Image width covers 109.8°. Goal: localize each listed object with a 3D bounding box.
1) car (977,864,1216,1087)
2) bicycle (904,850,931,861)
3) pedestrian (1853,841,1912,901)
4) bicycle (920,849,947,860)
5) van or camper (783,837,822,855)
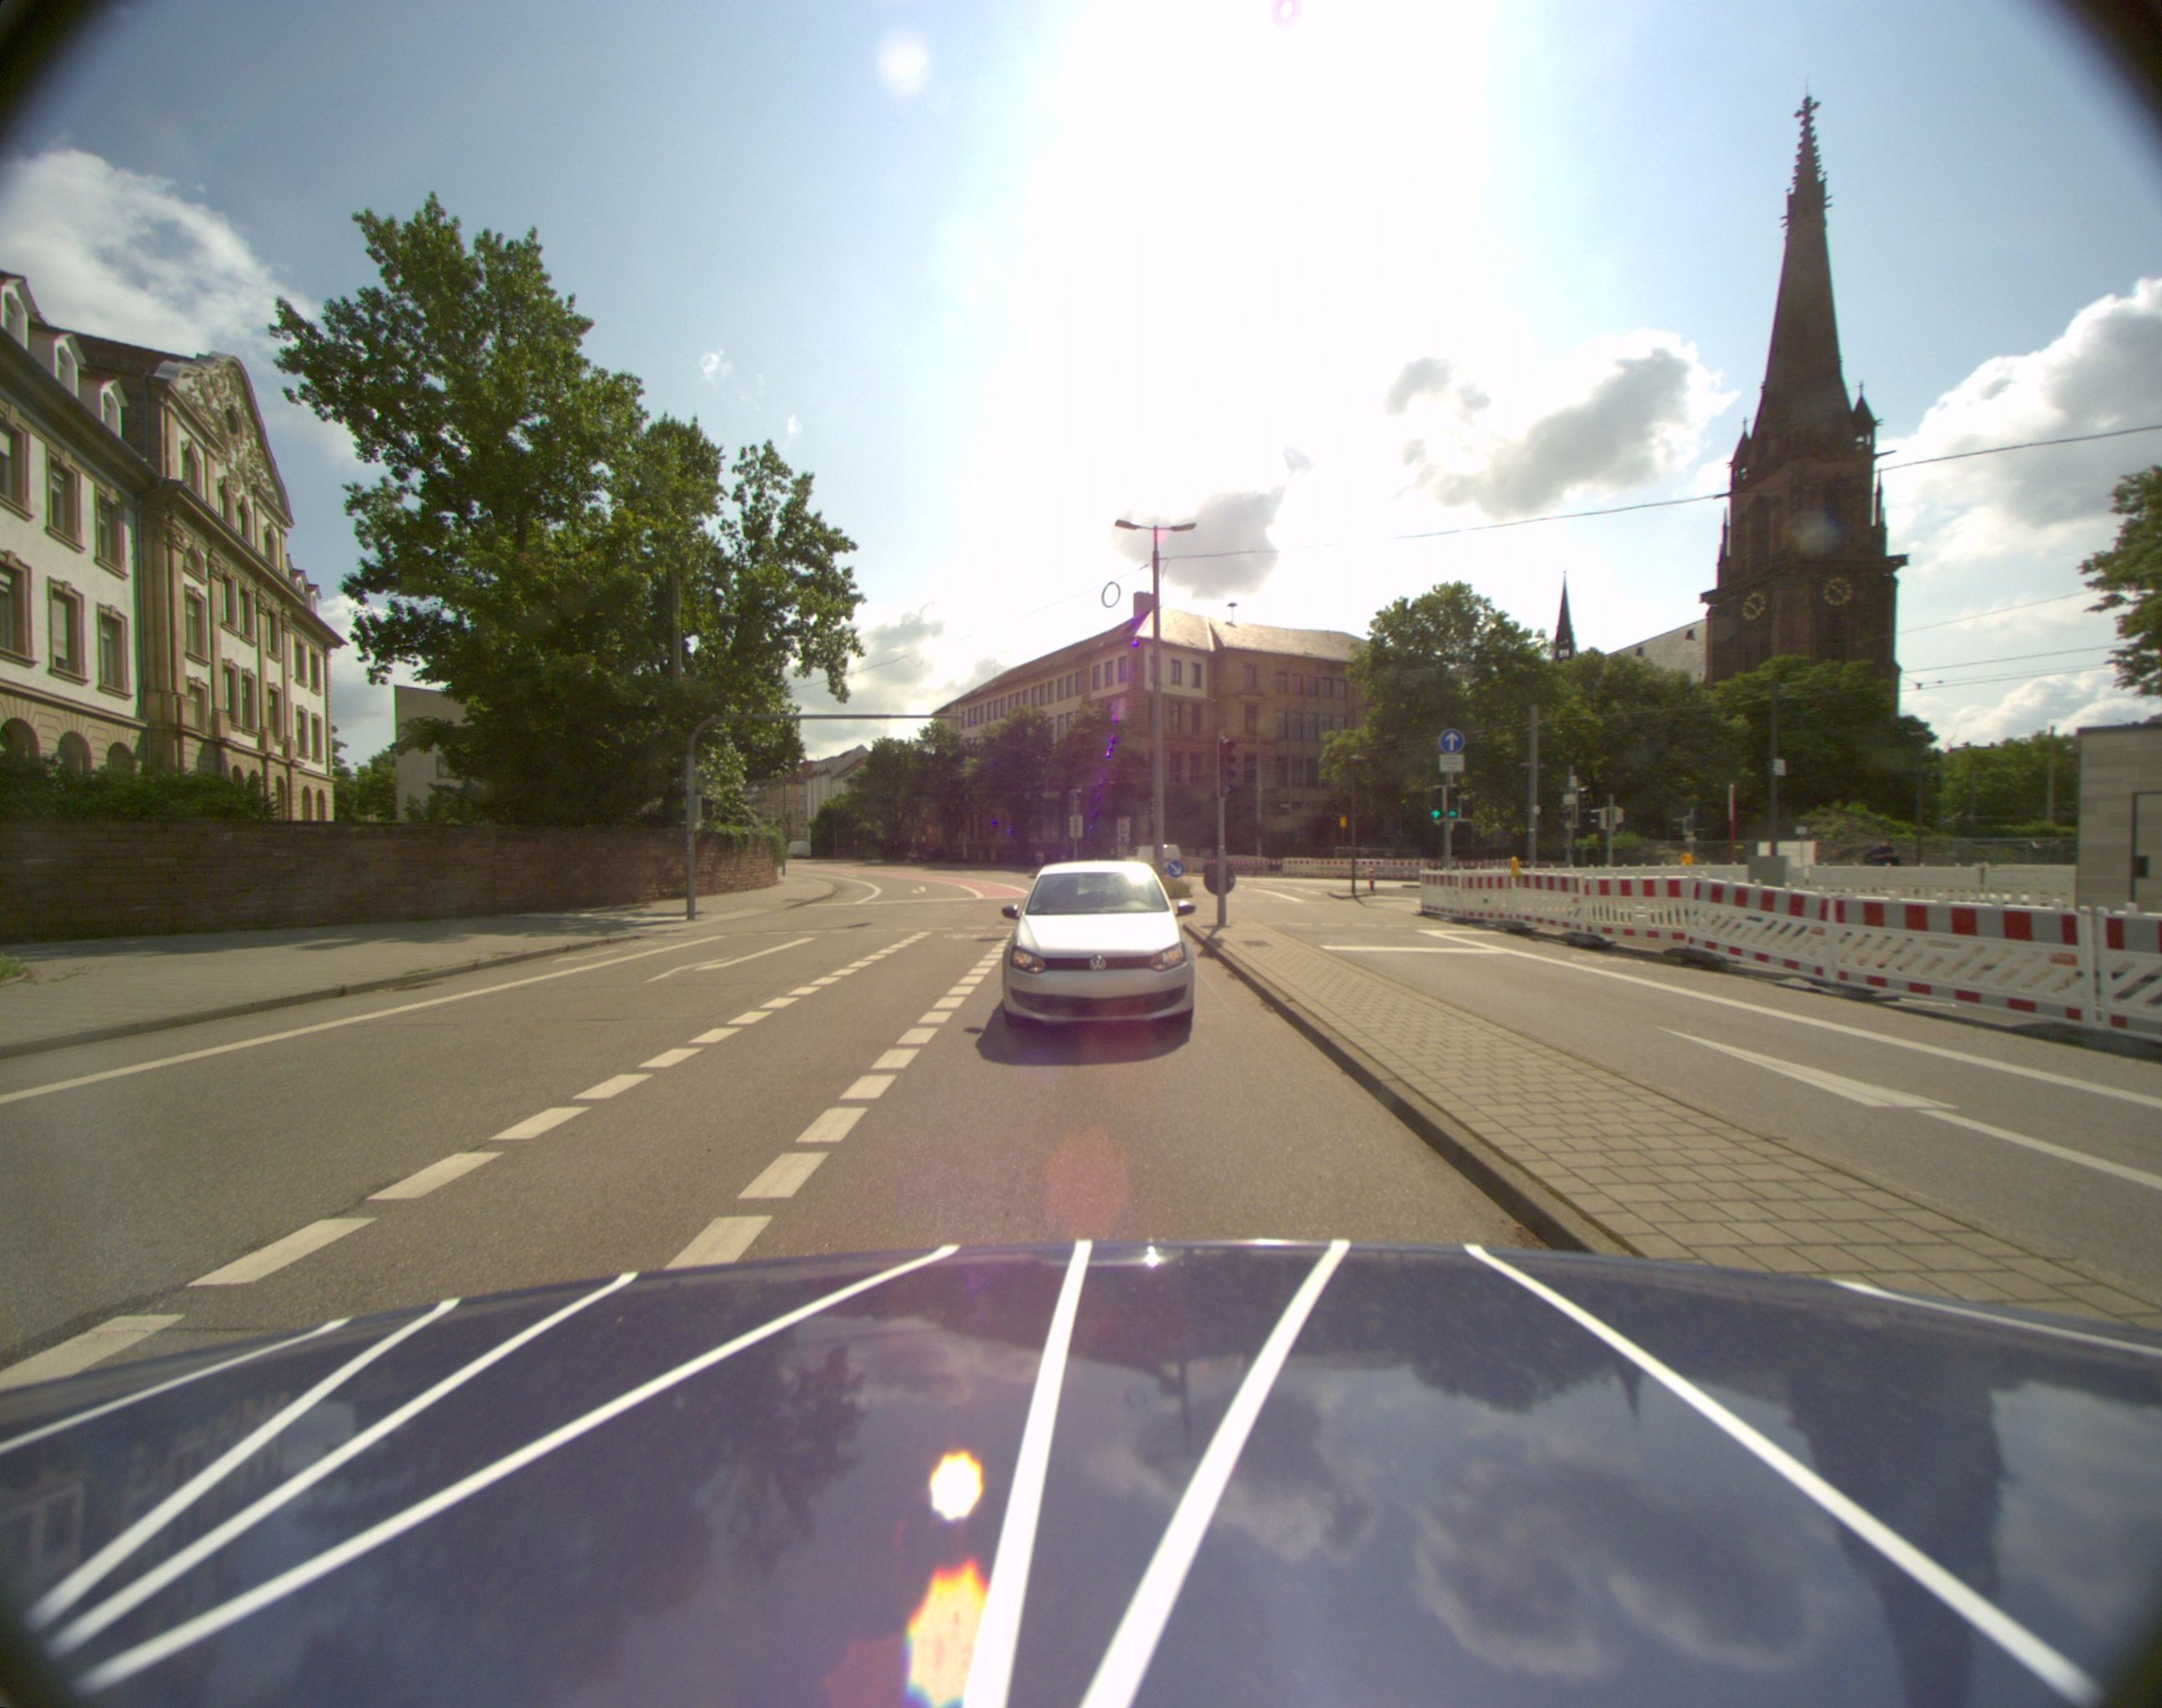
[{"bbox_3d":[0.135,0.904,7.451,1.655,1.433,4.004,-2,1,1],"label":"car"},{"bbox_3d":[-19.371,0.128,90.175,2.891,1.201,1.073,0,4,9],"label":"bicycle"},{"bbox_3d":[23.339,0.482,22.139,1.209,1.696,0.840,0,1,-26],"label":"pedestrian"},{"bbox_3d":[-17.057,0.082,87.876,2.891,1.201,1.050,0,4,9],"label":"bicycle"},{"bbox_3d":[-41.454,-1.182,113.097,2.982,2.587,6.738,-1,1,-44],"label":"van or camper"}]
